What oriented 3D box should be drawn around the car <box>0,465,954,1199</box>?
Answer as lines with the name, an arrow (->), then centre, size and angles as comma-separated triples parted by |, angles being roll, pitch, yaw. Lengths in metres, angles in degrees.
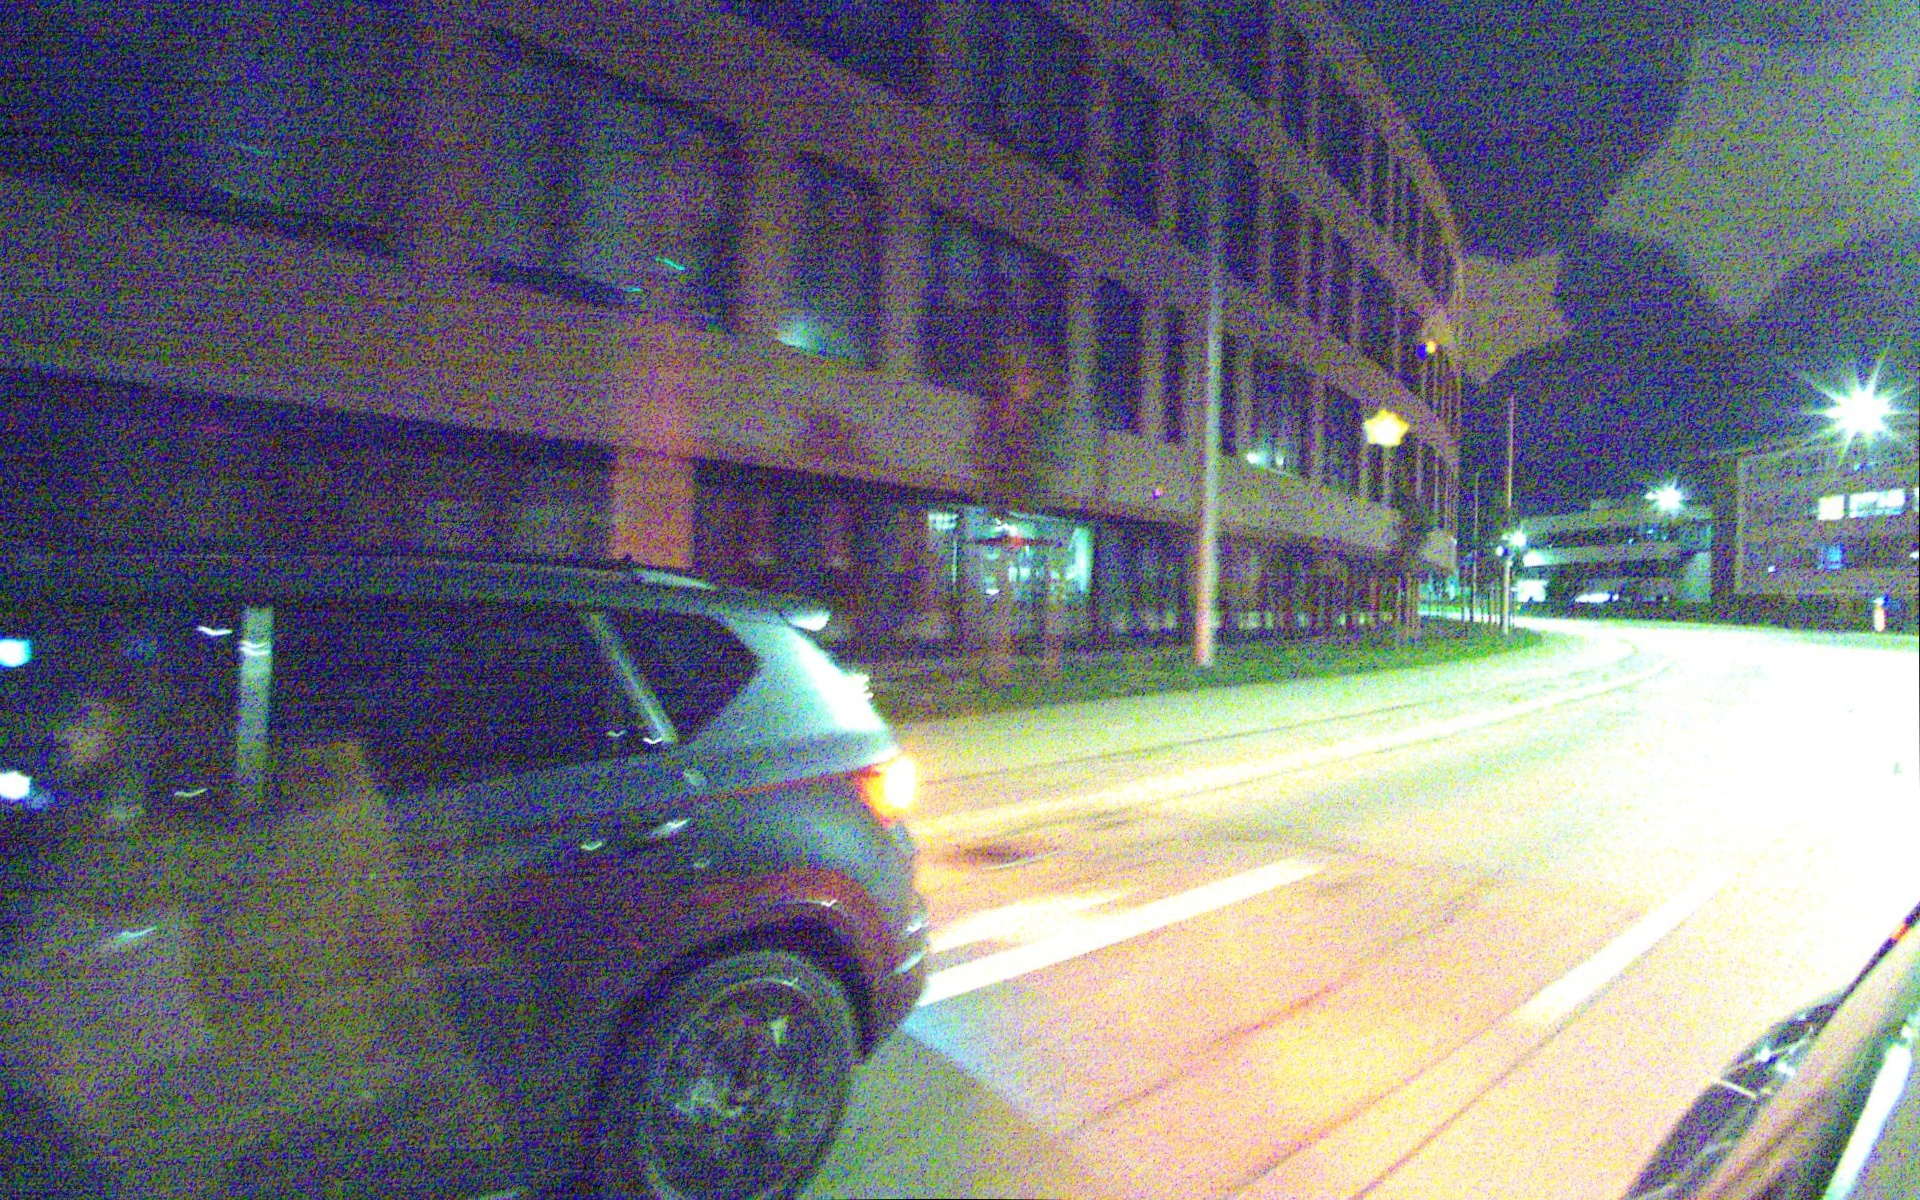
car -> -2.121, 0.623, 1.961 | 4.156, 1.631, 1.672 | -1, 0, -41
